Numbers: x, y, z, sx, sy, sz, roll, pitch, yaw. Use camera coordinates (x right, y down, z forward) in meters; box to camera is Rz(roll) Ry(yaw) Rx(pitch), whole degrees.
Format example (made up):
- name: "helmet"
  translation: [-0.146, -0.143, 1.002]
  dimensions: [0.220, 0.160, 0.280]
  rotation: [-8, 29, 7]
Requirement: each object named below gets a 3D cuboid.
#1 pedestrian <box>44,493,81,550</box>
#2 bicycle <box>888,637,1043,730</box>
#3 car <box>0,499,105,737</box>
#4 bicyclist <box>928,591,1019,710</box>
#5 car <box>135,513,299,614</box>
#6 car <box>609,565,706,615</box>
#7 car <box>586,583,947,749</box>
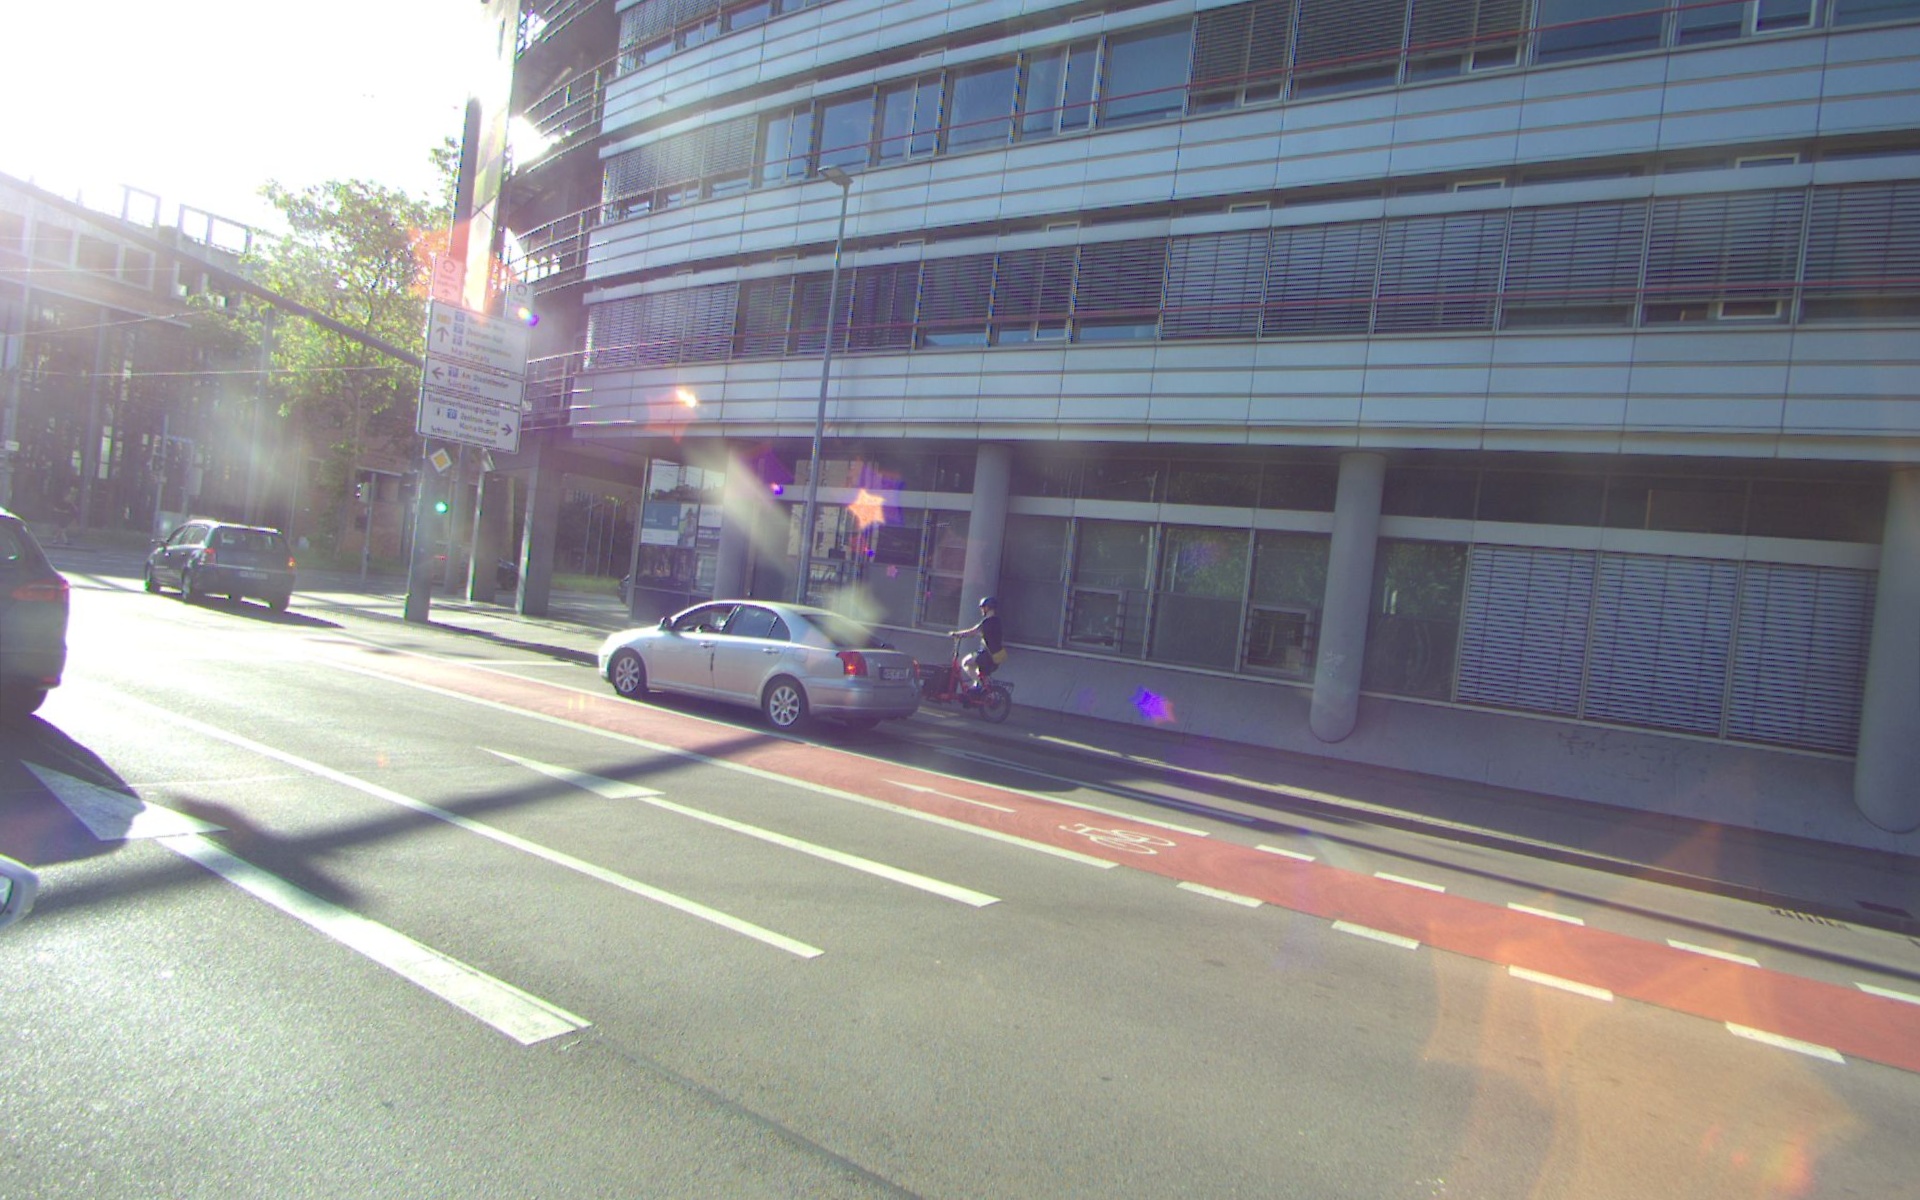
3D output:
- name: "pedestrian"
  translation: [-29.797, -2.601, 33.408]
  dimensions: [0.701, 1.781, 0.556]
  rotation: [6, 1, -33]
- name: "bicycle"
  translation: [0.068, 1.208, 14.828]
  dimensions: [2.166, 1.045, 0.500]
  rotation: [7, 1, 23]
- name: "car"
  translation: [-7.873, -0.115, 6.856]
  dimensions: [4.081, 1.451, 1.688]
  rotation: [7, 1, 28]
- name: "bicyclist"
  translation: [0.203, 0.736, 14.775]
  dimensions: [1.024, 1.586, 0.626]
  rotation: [7, 1, 22]
- name: "car"
  translation: [-15.552, -0.793, 20.963]
  dimensions: [4.399, 1.649, 1.686]
  rotation: [6, 0, 40]
- name: "car"
  translation: [-13.460, -0.410, 45.010]
  dimensions: [1.832, 1.670, 4.000]
  rotation: [7, -2, 24]
- name: "car"
  translation: [-2.565, 0.773, 12.976]
  dimensions: [4.413, 1.448, 1.753]
  rotation: [7, 0, 31]
